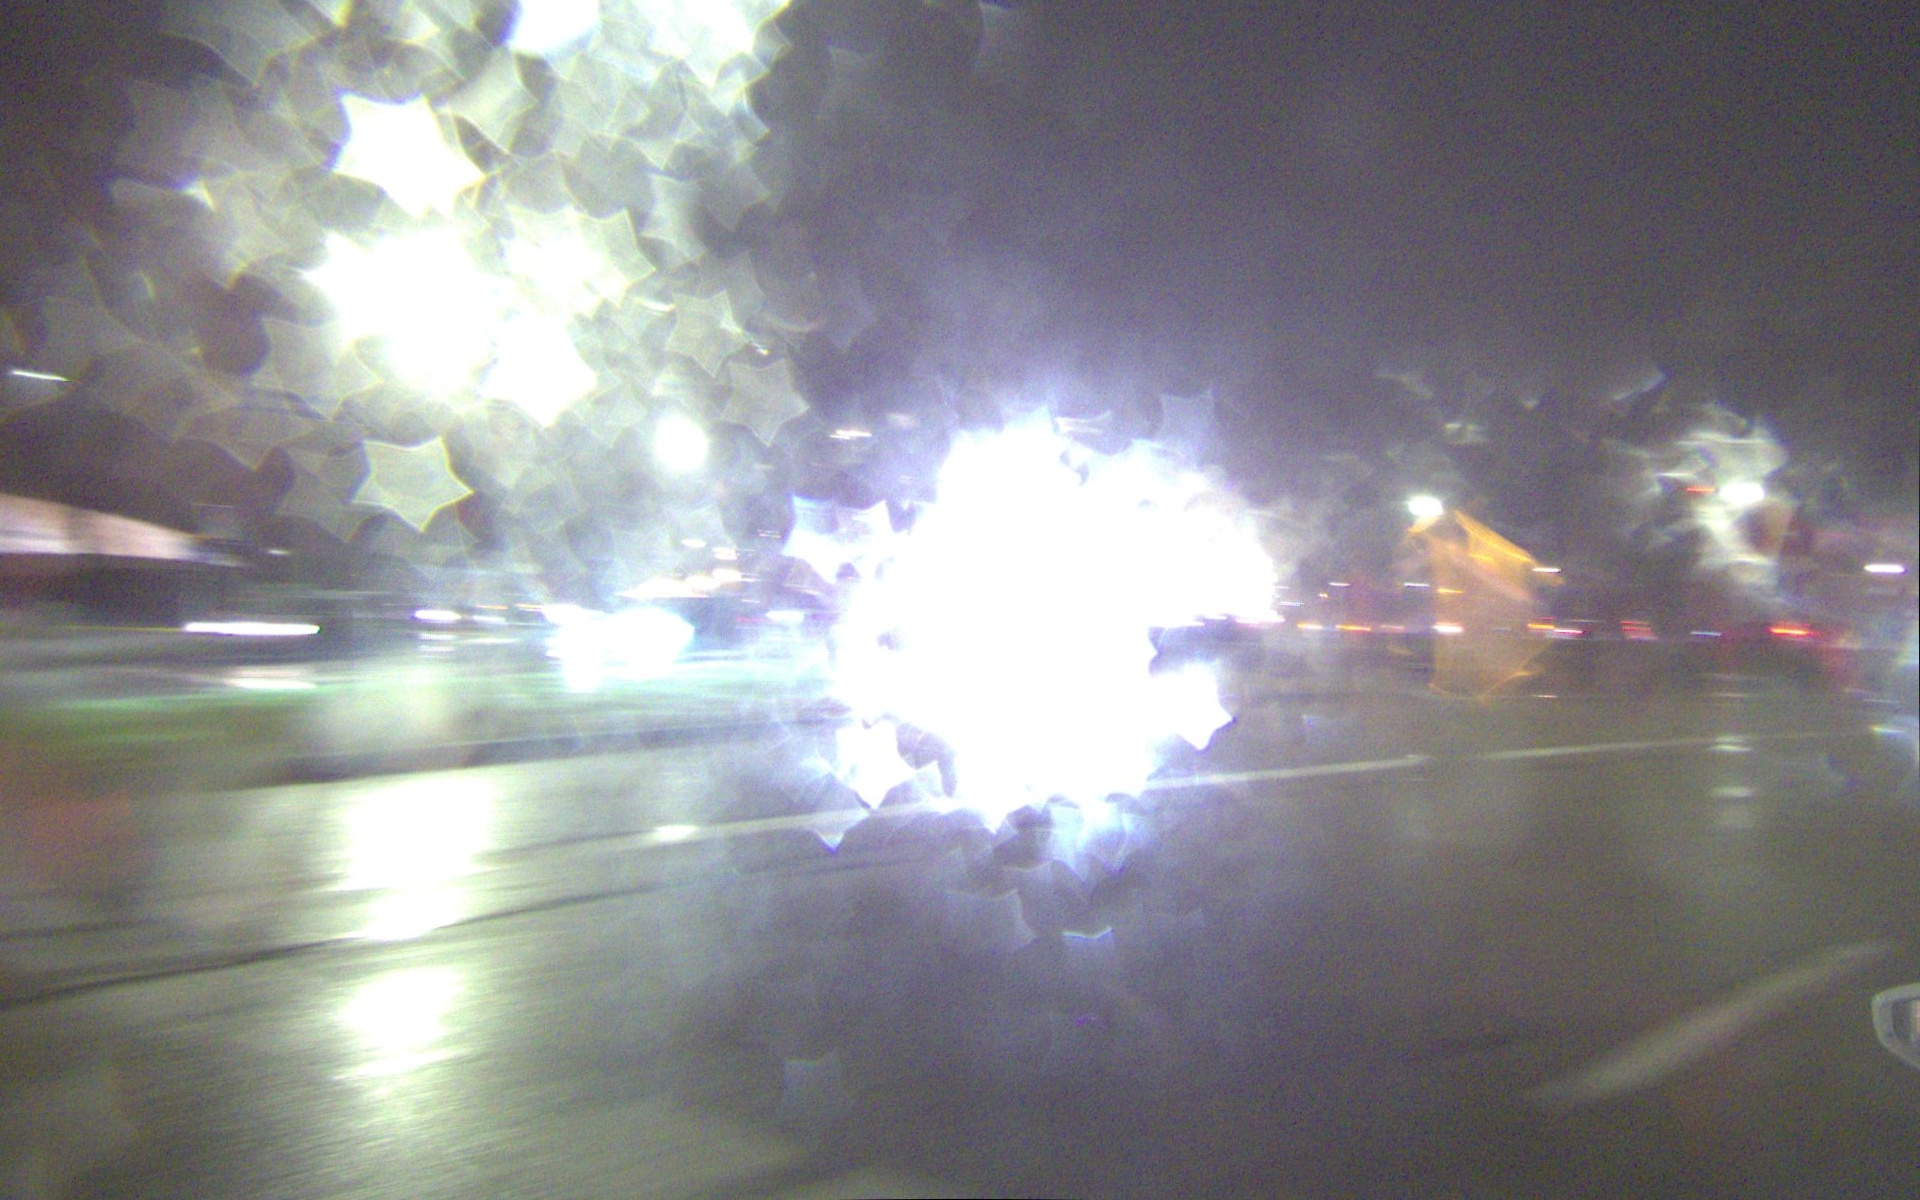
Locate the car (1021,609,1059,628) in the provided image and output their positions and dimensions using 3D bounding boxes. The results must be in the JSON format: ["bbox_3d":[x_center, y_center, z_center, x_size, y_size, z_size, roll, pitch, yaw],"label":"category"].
[{"bbox_3d":[7.419,1.722,92.655,1.743,1.639,3.862,3,0,34],"label":"car"}]

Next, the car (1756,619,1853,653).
[{"bbox_3d":[45.196,1.927,53.835,1.712,1.600,3.609,2,0,-22],"label":"car"}]

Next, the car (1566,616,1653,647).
[{"bbox_3d":[38.013,1.821,58.812,1.864,1.600,3.913,2,1,-43],"label":"car"}]

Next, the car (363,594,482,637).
[{"bbox_3d":[-22.288,0.609,41.745,3.924,1.595,1.758,2,0,-5],"label":"car"}]

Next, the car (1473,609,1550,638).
[{"bbox_3d":[34.345,1.449,62.602,3.905,1.600,1.729,3,1,40],"label":"car"}]

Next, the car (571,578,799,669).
[{"bbox_3d":[-6.020,0.500,22.742,2.025,1.755,5.125,2,0,27],"label":"car"}]

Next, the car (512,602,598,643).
[{"bbox_3d":[-15.932,0.851,39.415,1.817,1.391,3.896,2,1,-43],"label":"car"}]

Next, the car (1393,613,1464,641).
[{"bbox_3d":[30.849,1.764,66.136,3.933,1.637,1.831,3,1,35],"label":"car"}]

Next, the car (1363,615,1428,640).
[{"bbox_3d":[30.789,1.918,71.033,3.932,1.506,1.764,3,1,33],"label":"car"}]

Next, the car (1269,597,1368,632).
[{"bbox_3d":[24.486,0.957,68.806,6.188,2.117,2.516,2,1,17],"label":"car"}]

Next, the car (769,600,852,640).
[{"bbox_3d":[-8.524,1.144,57.260,4.357,2.040,1.990,2,1,-21],"label":"car"}]

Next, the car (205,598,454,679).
[{"bbox_3d":[-13.996,0.791,22.638,1.961,1.561,4.415,2,0,22],"label":"car"}]

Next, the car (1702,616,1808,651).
[{"bbox_3d":[41.999,1.746,53.134,1.814,1.637,3.969,2,0,-29],"label":"car"}]
